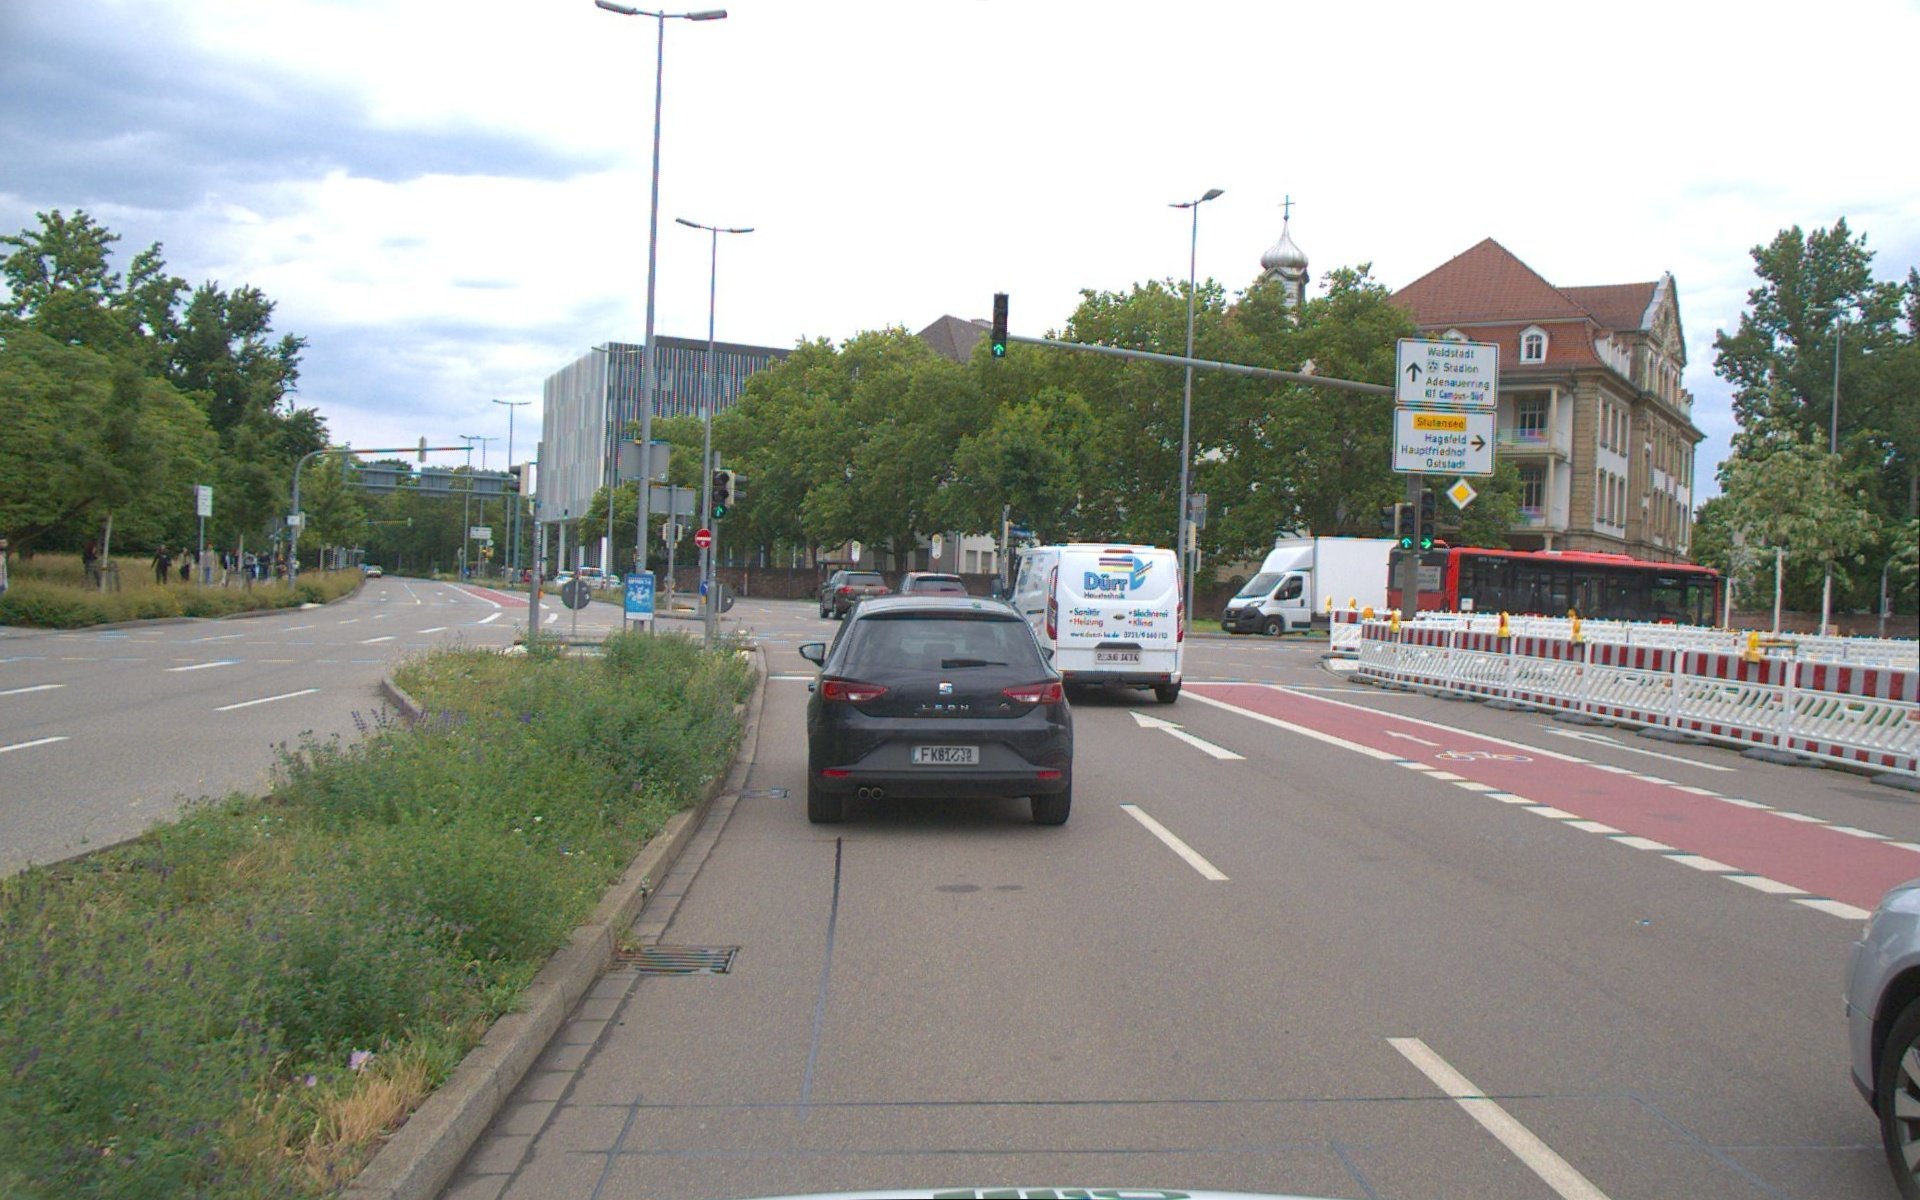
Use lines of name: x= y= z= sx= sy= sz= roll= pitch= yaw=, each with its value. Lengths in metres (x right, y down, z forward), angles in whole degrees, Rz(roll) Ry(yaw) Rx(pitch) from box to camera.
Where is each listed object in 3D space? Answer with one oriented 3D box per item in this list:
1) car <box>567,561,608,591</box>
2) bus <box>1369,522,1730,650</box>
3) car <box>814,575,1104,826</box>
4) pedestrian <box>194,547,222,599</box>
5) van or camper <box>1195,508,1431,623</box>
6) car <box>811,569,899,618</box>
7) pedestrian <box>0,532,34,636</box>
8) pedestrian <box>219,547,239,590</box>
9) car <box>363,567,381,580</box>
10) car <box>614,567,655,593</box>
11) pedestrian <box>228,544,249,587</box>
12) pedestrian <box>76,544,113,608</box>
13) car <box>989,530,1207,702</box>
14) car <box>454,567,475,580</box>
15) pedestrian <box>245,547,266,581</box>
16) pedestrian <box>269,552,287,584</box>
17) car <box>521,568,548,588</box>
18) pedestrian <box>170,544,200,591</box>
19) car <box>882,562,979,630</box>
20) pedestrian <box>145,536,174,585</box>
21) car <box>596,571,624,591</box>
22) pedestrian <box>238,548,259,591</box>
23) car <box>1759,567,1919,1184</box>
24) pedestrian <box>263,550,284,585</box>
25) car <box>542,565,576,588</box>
car: x=-26.420 y=-1.725 z=117.160 sx=1.969 sy=2.049 sz=3.967 roll=2 pitch=1 yaw=-26
bus: x=17.726 y=-0.316 z=49.153 sx=12.212 sy=3.355 sz=3.037 roll=2 pitch=0 yaw=-31
car: x=-0.171 y=0.600 z=11.889 sx=1.712 sy=1.489 sz=3.995 roll=1 pitch=0 yaw=-5
pedestrian: x=-29.728 y=-1.065 z=65.398 sx=0.741 sy=2.049 sz=1.044 roll=1 pitch=0 yaw=-11
van or camper: x=11.245 y=-1.014 z=52.641 sx=7.033 sy=3.390 sz=2.856 roll=1 pitch=-1 yaw=-24
car: x=-3.699 y=-0.255 z=57.407 sx=1.964 sy=1.593 sz=4.181 roll=1 pitch=1 yaw=-20
pedestrian: x=-17.474 y=-0.302 z=30.069 sx=0.875 sy=1.874 sz=0.667 roll=1 pitch=0 yaw=-2
pedestrian: x=-33.037 y=-1.412 z=74.754 sx=0.702 sy=1.902 sz=0.755 roll=1 pitch=0 yaw=-14
car: x=-71.582 y=-3.215 z=201.273 sx=1.666 sy=1.440 sz=3.613 roll=2 pitch=1 yaw=-26
car: x=-22.640 y=-1.402 z=114.930 sx=1.892 sy=1.713 sz=3.970 roll=2 pitch=1 yaw=-24
pedestrian: x=-34.644 y=-1.642 z=79.436 sx=0.742 sy=2.049 sz=1.043 roll=1 pitch=0 yaw=-14
pedestrian: x=-28.600 y=-0.792 z=54.666 sx=0.741 sy=2.049 sz=1.044 roll=1 pitch=0 yaw=-11
car: x=1.737 y=0.157 z=22.642 sx=1.956 sy=2.054 sz=5.024 roll=1 pitch=1 yaw=-7
car: x=-50.211 y=-2.664 z=167.548 sx=1.688 sy=1.287 sz=3.318 roll=2 pitch=1 yaw=-22
pedestrian: x=-37.748 y=-1.922 z=88.591 sx=0.904 sy=1.810 sz=1.058 roll=1 pitch=1 yaw=-19
pedestrian: x=-40.713 y=-1.910 z=98.723 sx=0.904 sy=1.809 sz=1.059 roll=1 pitch=5 yaw=-19
car: x=-38.496 y=-1.960 z=149.494 sx=1.965 sy=1.711 sz=3.987 roll=2 pitch=1 yaw=-20
pedestrian: x=-29.082 y=-1.206 z=62.053 sx=0.741 sy=1.742 sz=1.044 roll=1 pitch=0 yaw=-11
car: x=-0.810 y=-0.131 z=42.211 sx=1.824 sy=1.628 sz=4.195 roll=1 pitch=1 yaw=-10
pedestrian: x=-29.794 y=-1.467 z=61.565 sx=0.741 sy=1.796 sz=0.904 roll=1 pitch=0 yaw=-11
car: x=-26.812 y=-1.455 z=126.702 sx=1.506 sy=1.389 sz=2.946 roll=2 pitch=1 yaw=-25
pedestrian: x=-32.279 y=-1.375 z=75.050 sx=0.702 sy=1.902 sz=0.755 roll=1 pitch=0 yaw=-14
car: x=3.233 y=0.707 z=2.532 sx=1.685 sy=1.508 sz=4.627 roll=1 pitch=1 yaw=-1
pedestrian: x=-36.890 y=-1.753 z=88.904 sx=0.904 sy=1.810 sz=1.058 roll=1 pitch=1 yaw=-19
car: x=-31.031 y=-1.794 z=127.854 sx=1.966 sy=1.668 sz=3.974 roll=2 pitch=1 yaw=-22
